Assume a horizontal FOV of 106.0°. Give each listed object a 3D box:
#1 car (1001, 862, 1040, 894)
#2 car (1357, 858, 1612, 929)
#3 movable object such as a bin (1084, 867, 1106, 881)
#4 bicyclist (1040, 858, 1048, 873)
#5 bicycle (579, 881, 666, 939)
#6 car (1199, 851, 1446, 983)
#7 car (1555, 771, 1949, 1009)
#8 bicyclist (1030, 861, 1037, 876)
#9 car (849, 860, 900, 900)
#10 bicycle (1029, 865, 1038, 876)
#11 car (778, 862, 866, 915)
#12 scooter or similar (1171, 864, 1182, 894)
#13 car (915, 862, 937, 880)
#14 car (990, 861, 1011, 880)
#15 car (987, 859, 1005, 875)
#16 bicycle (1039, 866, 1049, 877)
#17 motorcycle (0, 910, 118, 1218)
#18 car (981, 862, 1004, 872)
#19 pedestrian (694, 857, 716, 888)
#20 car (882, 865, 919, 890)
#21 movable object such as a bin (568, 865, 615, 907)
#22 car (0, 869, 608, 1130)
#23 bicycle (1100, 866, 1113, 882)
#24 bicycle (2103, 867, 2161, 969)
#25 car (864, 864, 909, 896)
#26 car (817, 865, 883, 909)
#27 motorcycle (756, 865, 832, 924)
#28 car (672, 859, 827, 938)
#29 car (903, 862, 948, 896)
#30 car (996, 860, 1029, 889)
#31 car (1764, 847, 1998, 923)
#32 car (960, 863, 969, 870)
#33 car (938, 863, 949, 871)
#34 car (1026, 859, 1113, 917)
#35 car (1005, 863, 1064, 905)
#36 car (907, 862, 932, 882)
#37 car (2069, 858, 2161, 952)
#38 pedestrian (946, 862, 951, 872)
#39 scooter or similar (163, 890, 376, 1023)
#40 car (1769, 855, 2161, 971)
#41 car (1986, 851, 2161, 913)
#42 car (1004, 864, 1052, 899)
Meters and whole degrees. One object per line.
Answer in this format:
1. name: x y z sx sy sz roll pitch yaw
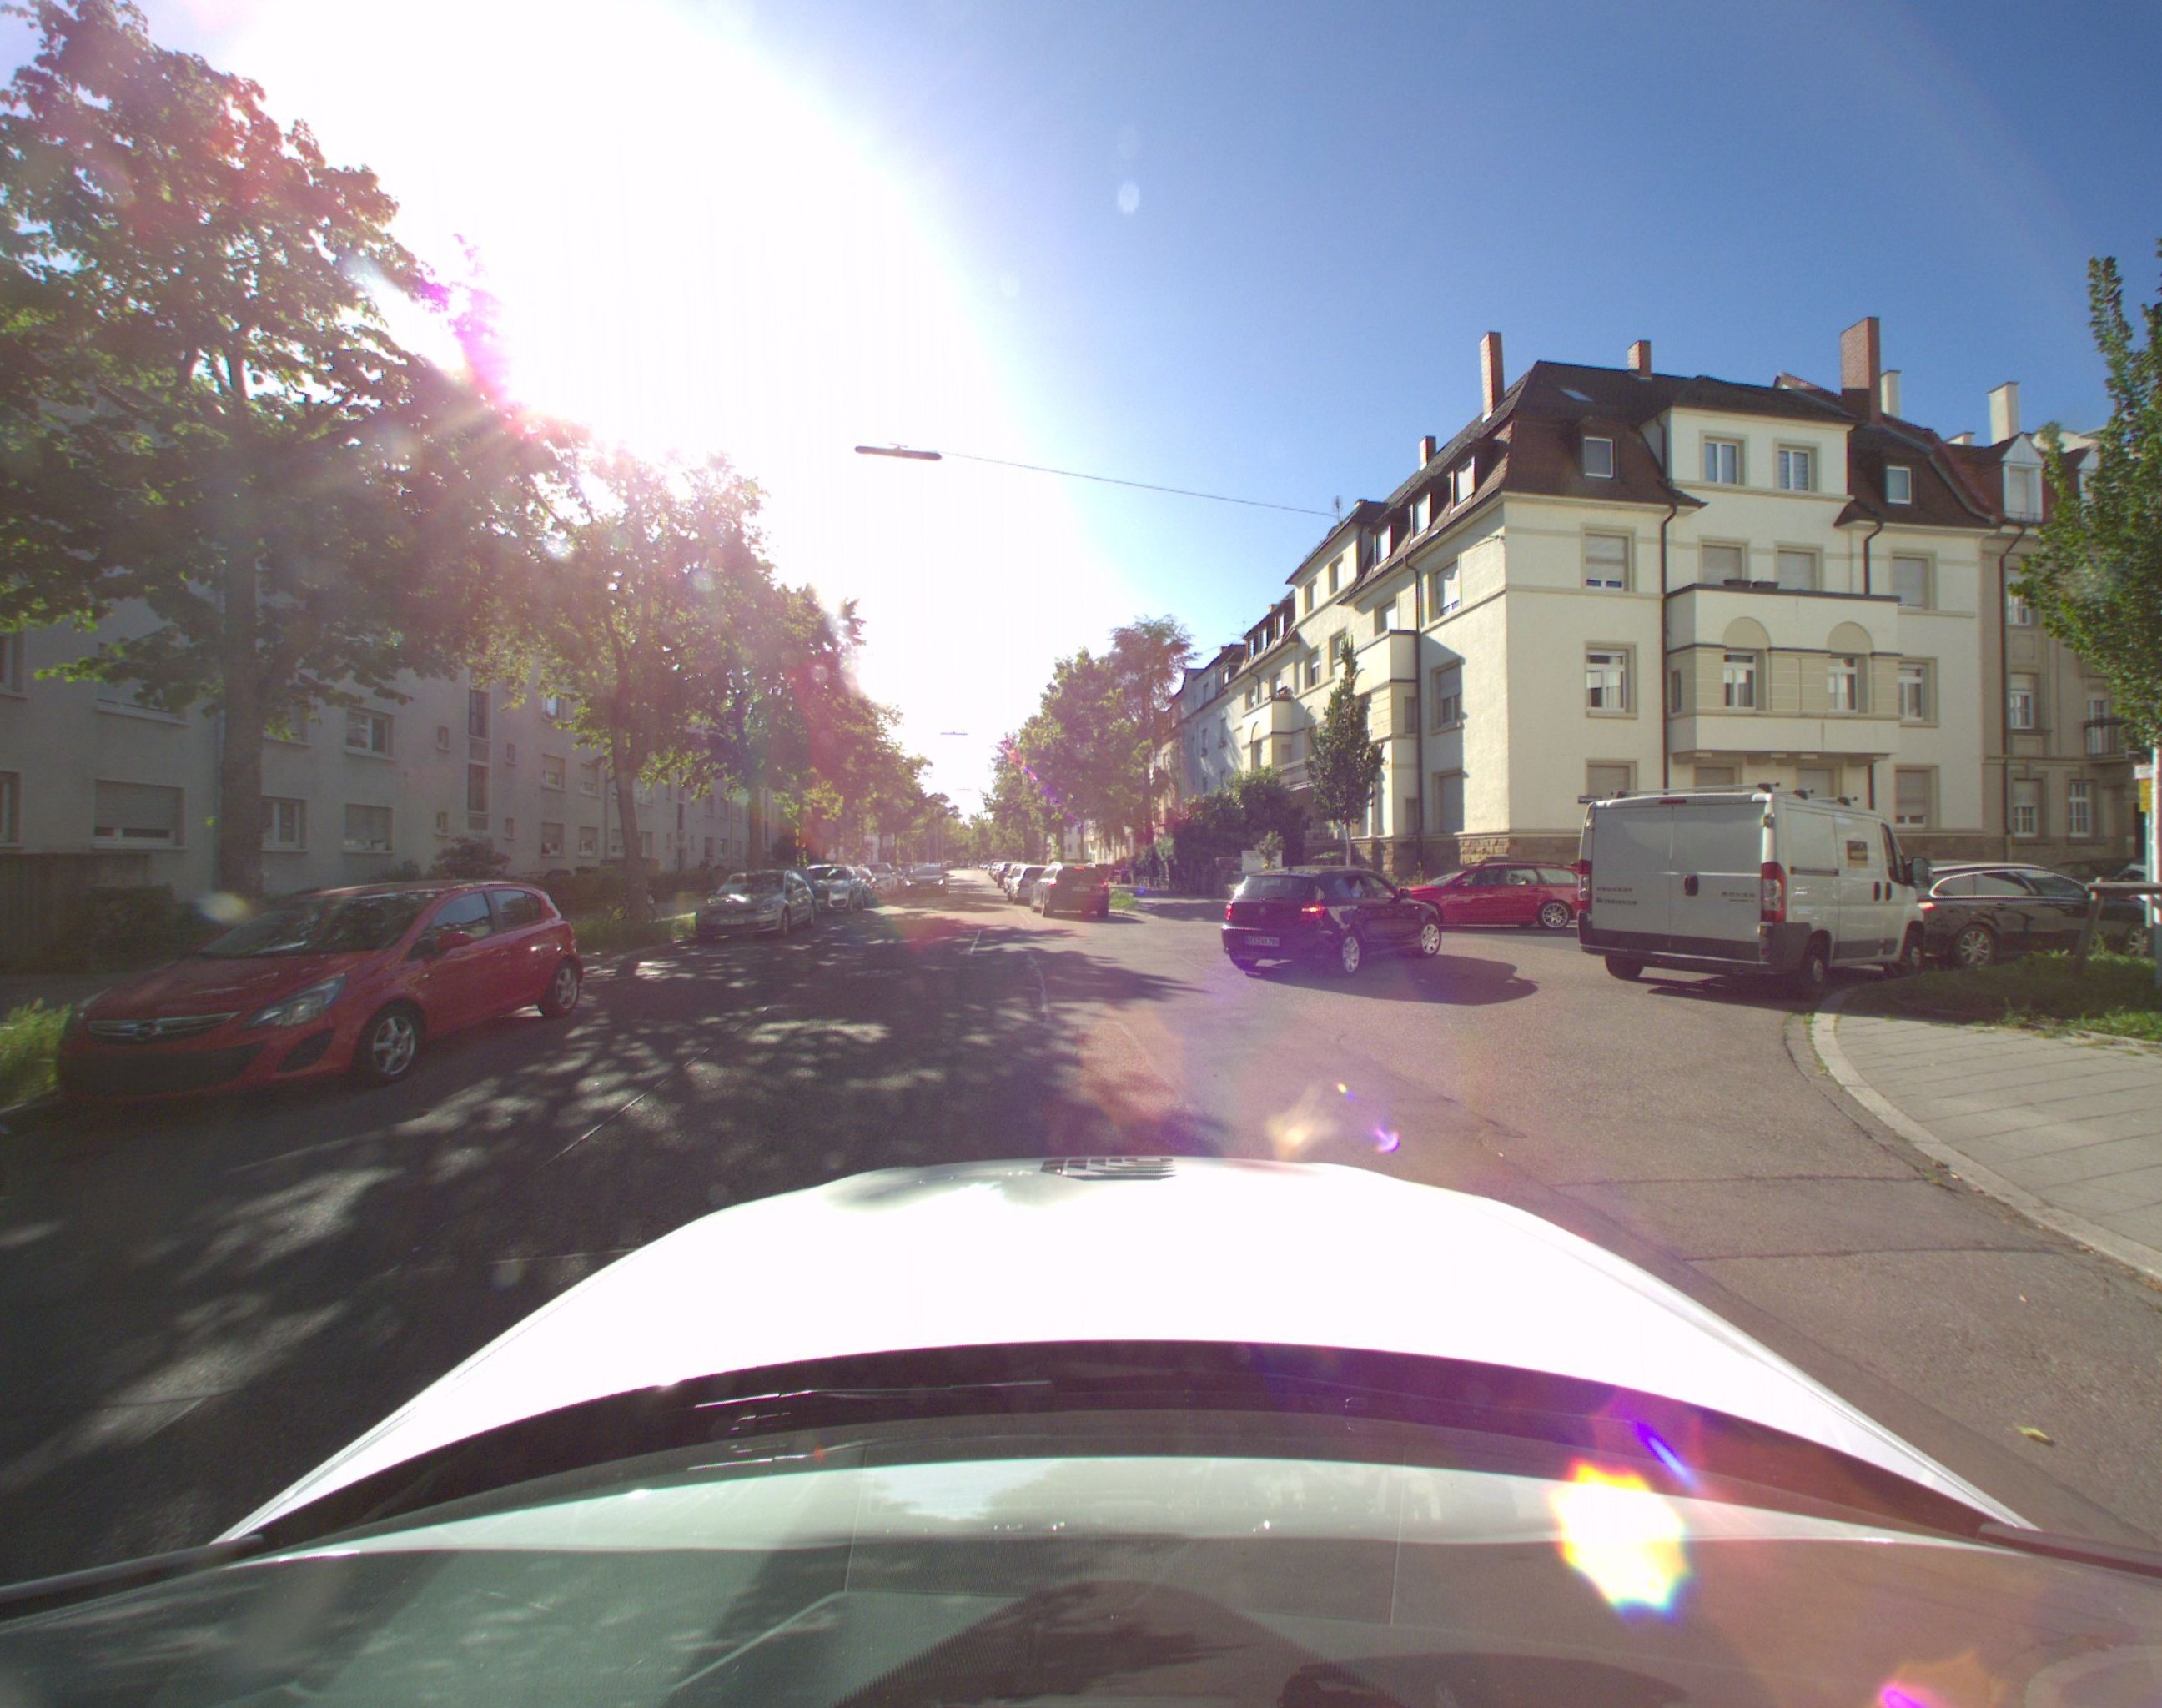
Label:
1. car: -3.171 1.218 42.149 1.653 1.532 3.957 2 -1 -9
2. car: 8.743 0.848 18.051 4.693 1.470 1.957 -1 -1 6
3. movable object such as a bin: 0.976 1.410 57.258 1.213 0.905 1.670 -1 0 13
4. bicyclist: -4.011 1.260 88.334 0.676 1.553 1.018 -1 -1 -11
5. bicycle: -9.366 1.122 16.738 0.529 1.015 2.089 6 -1 -2
6. car: 3.584 0.755 11.659 1.766 1.523 4.024 -2 -1 43
7. car: 8.444 0.342 10.143 5.073 2.306 2.212 0 -1 -31
8. bicyclist: -5.156 1.564 88.565 0.677 1.609 0.918 -1 -1 -11
9. car: -9.498 1.152 37.705 1.728 1.618 4.353 -4 0 -8
10. bicycle: -5.154 1.833 88.562 0.684 1.153 2.394 -1 -1 -10
11. car: -8.154 1.016 26.061 2.064 1.524 4.705 0 0 -10
12. scooter or similar: 3.925 1.021 33.483 0.399 1.185 1.208 -1 0 8
13. car: -14.371 1.580 75.571 1.708 1.544 3.920 -2 0 -7
14. car: -8.039 1.606 81.046 1.905 1.699 4.302 2 -1 -8
15. car: -10.615 1.601 101.292 1.970 1.949 4.971 0 -1 -8
16. bicycle: -4.022 1.852 88.397 0.684 1.153 2.394 -1 -1 -10
17. motorcycle: -5.748 0.959 3.634 1.947 1.332 0.787 -1 -1 0
18. car: -15.471 2.303 142.301 3.989 1.587 1.720 -1 -1 -12
19. pedestrian: -22.838 1.118 49.475 0.931 1.888 1.025 -1 -1 -3
20. car: -11.012 1.411 49.908 1.778 1.379 4.252 -2 0 -7
21. movable object such as a bin: -16.003 1.019 26.667 0.930 1.324 1.373 -1 -1 -13
22. car: -5.975 0.892 6.930 1.855 1.469 4.171 -1 0 -7
23. bicycle: 1.683 1.309 53.826 0.580 0.975 1.899 -1 -1 -6
24. bicycle: 13.339 0.755 10.008 0.654 1.174 2.004 -1 -1 42
25. car: -10.204 1.331 42.983 1.727 1.477 4.607 -4 0 -7
26. car: -8.751 1.186 31.197 1.727 1.447 4.807 -3 0 -8
27. motorcycle: -7.802 1.081 22.104 2.205 1.503 0.996 -2 -1 43
28. car: -7.217 0.889 18.304 2.040 1.524 4.595 0 0 -6
29. car: -7.140 1.115 37.786 1.808 1.445 4.353 -2 0 -8
30. car: -4.400 1.264 51.626 1.923 1.652 5.084 2 -1 -6
31. car: 18.738 0.684 19.162 4.170 1.641 1.828 -1 -1 -9
32. car: -26.458 2.848 185.351 1.784 1.609 3.984 -1 -1 -12
33. car: -26.751 2.528 158.623 1.992 1.585 3.990 -1 0 -7
34. car: -0.457 0.958 23.874 1.895 1.524 4.951 0 -1 -9
35. car: -1.881 1.088 31.539 1.821 1.469 4.894 1 -1 -9
36. car: -13.765 1.498 69.509 1.810 1.596 4.221 -1 -1 -8
37. car: 19.303 0.794 13.202 4.926 1.429 1.956 0 1 -9
38. pedestrian: -23.775 2.310 146.120 0.717 1.900 0.832 0 -1 -17
39. scooter or similar: -8.627 1.030 8.738 0.550 1.235 1.522 -1 -1 22
40. car: 13.320 0.777 12.114 4.927 1.469 2.041 -1 0 -10
41. car: 25.797 0.670 20.330 4.923 1.469 1.823 0 -1 -7
42. car: -2.434 1.191 36.485 1.710 1.411 4.847 1 -1 -9
